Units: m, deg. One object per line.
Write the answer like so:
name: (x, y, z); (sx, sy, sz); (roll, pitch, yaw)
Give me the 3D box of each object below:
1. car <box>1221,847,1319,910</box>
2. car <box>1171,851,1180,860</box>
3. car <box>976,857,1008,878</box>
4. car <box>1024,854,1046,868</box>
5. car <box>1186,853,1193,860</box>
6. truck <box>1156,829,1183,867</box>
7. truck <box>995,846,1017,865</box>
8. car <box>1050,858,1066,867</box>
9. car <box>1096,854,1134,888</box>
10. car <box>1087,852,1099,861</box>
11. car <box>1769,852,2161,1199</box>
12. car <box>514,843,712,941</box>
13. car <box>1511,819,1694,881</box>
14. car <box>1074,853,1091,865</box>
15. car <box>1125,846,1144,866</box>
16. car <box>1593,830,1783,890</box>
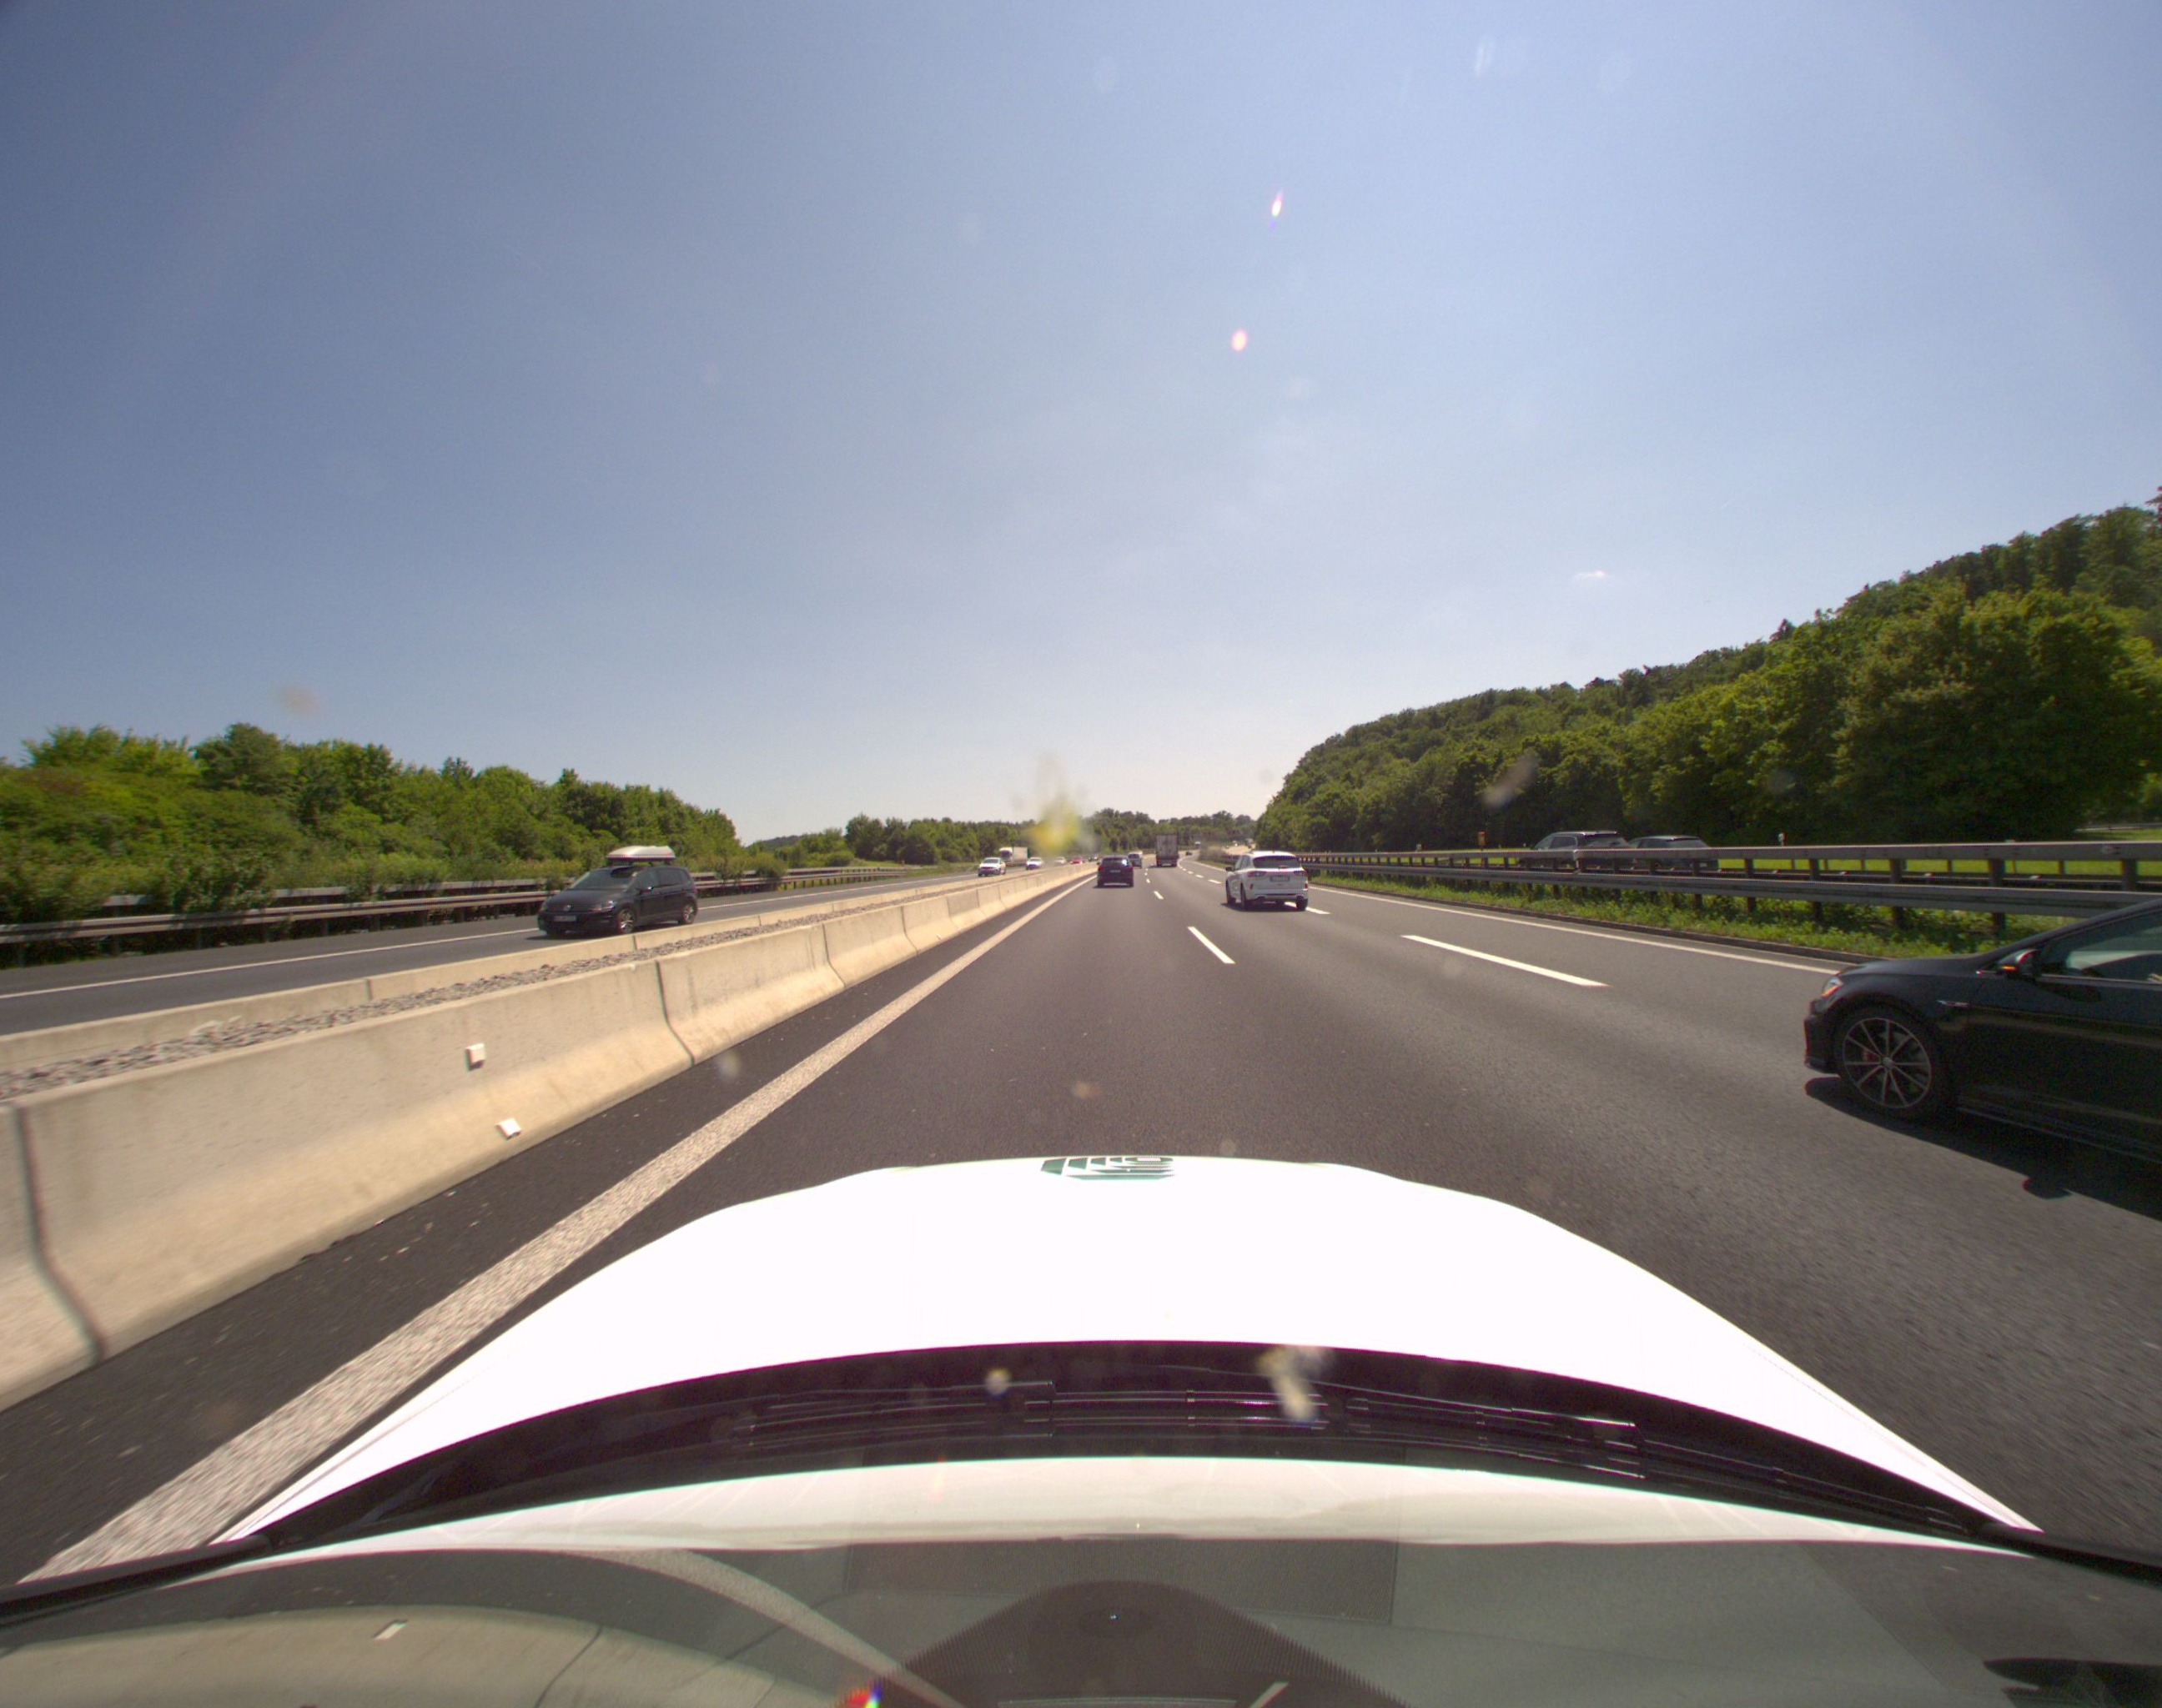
car: (5.531, 0.687, 24.425); (1.986, 1.662, 4.469); (-1, -1, 1)
car: (22.125, 0.289, 190.150); (1.984, 2.014, 4.006); (-1, -1, 5)
car: (-7.693, 1.148, 70.959); (1.859, 1.666, 4.670); (-1, -1, 5)
car: (-5.633, 0.843, 100.029); (1.985, 1.543, 5.046); (-1, -1, 4)
car: (32.908, 0.657, 247.111); (1.981, 2.014, 4.011); (-1, -1, 10)
truck: (10.995, -0.646, 101.745); (3.017, 4.418, 12.035); (-1, -1, 5)
truck: (-14.795, 0.292, 161.019); (3.067, 3.503, 5.420); (-1, -1, 7)
car: (-3.480, 1.316, 124.165); (1.841, 1.394, 4.006); (0, 0, 5)
car: (1.675, 0.849, 41.574); (1.773, 1.577, 4.000); (-1, -1, 1)
car: (2.558, 0.600, 168.842); (1.984, 1.824, 4.912); (-1, -1, 5)
car: (5.429, 0.713, 3.360); (1.789, 1.435, 3.964); (-1, -1, -1)
car: (-11.222, 0.834, 20.030); (1.986, 2.081, 4.705); (-2, 0, 2)
car: (15.883, -0.081, 25.302); (1.988, 1.662, 5.624); (-1, -1, -1)
car: (0.250, 0.717, 115.879); (1.984, 1.659, 4.640); (-1, -1, 5)
car: (6.167, 0.227, 93.505); (1.984, 2.013, 4.006); (-5, 0, 5)
car: (19.127, 0.198, 26.062); (1.989, 1.662, 5.223); (-1, -1, -3)
